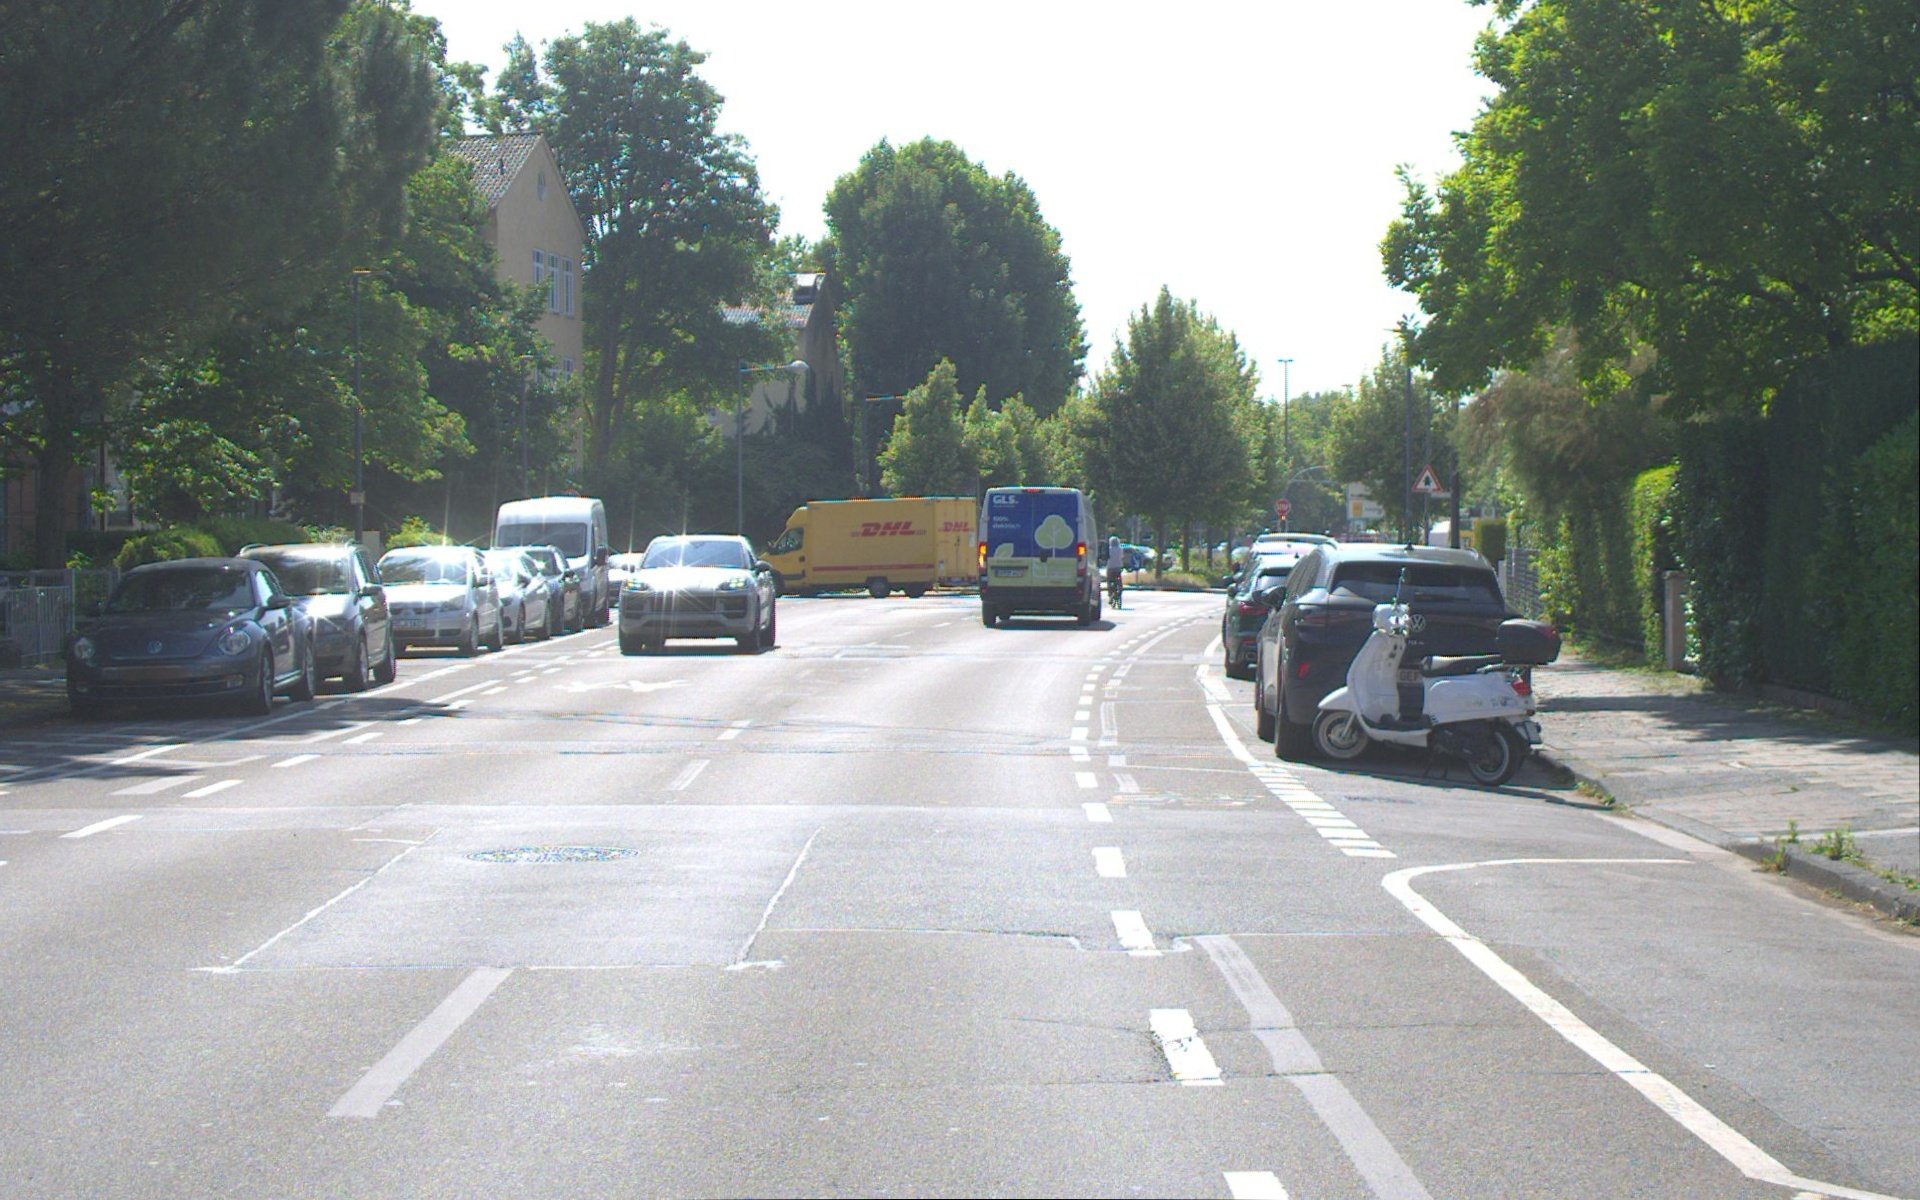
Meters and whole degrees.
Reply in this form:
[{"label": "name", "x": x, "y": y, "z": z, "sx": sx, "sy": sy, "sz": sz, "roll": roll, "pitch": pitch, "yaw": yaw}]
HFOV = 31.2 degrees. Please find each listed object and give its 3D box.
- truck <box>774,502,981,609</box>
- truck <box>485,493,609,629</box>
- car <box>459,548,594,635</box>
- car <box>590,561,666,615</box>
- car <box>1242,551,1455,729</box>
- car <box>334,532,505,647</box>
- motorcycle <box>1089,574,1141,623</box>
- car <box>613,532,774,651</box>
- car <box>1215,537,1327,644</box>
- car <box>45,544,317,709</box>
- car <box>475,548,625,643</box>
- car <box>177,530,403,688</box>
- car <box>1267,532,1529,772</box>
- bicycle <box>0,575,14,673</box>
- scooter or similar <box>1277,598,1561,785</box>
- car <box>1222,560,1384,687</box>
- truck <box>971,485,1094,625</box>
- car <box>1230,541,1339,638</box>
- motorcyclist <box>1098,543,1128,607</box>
[{"label": "truck", "x": -2.375, "y": -1.243, "z": 97.547, "sx": 5.679, "sy": 2.936, "sz": 2.217, "roll": 0, "pitch": 0, "yaw": 36}, {"label": "truck", "x": -7.976, "y": -0.756, "z": 66.822, "sx": 2.080, "sy": 2.528, "sz": 5.468, "roll": 0, "pitch": 1, "yaw": -4}, {"label": "car", "x": -7.640, "y": -0.159, "z": 60.885, "sx": 1.754, "sy": 1.491, "sz": 3.653, "roll": 0, "pitch": 1, "yaw": 3}, {"label": "car", "x": -8.531, "y": -0.320, "z": 88.570, "sx": 1.754, "sy": 1.339, "sz": 3.654, "roll": 0, "pitch": 1, "yaw": -2}, {"label": "car", "x": 3.606, "y": 0.333, "z": 32.496, "sx": 1.709, "sy": 1.509, "sz": 3.901, "roll": 2, "pitch": 1, "yaw": 3}, {"label": "car", "x": -7.755, "y": -0.142, "z": 49.655, "sx": 1.835, "sy": 1.590, "sz": 3.775, "roll": 0, "pitch": 0, "yaw": 1}, {"label": "motorcycle", "x": 3.639, "y": -0.042, "z": 81.108, "sx": 1.056, "sy": 1.119, "sz": 2.992, "roll": 0, "pitch": 0, "yaw": -1}, {"label": "car", "x": -3.844, "y": -0.148, "z": 50.236, "sx": 1.993, "sy": 1.652, "sz": 4.605, "roll": 0, "pitch": 1, "yaw": 0}, {"label": "car", "x": 5.080, "y": -0.176, "z": 55.828, "sx": 1.701, "sy": 1.671, "sz": 3.774, "roll": 0, "pitch": 1, "yaw": 7}, {"label": "car", "x": -7.391, "y": 0.214, "z": 32.989, "sx": 1.780, "sy": 1.455, "sz": 4.086, "roll": -1, "pitch": 1, "yaw": -2}, {"label": "car", "x": -6.641, "y": -0.087, "z": 55.997, "sx": 1.835, "sy": 1.491, "sz": 3.653, "roll": 0, "pitch": 1, "yaw": 3}, {"label": "car", "x": -7.466, "y": 0.059, "z": 38.704, "sx": 1.908, "sy": 1.671, "sz": 4.259, "roll": 0, "pitch": 1, "yaw": -3}, {"label": "car", "x": 3.330, "y": 0.354, "z": 26.635, "sx": 1.785, "sy": 1.632, "sz": 4.469, "roll": 2, "pitch": 1, "yaw": 6}, {"label": "bicycle", "x": -11.339, "y": 0.280, "z": 39.454, "sx": 0.373, "sy": 1.142, "sz": 1.977, "roll": 0, "pitch": 0, "yaw": 1}, {"label": "scooter or similar", "x": 3.154, "y": 0.623, "z": 23.757, "sx": 1.796, "sy": 1.150, "sz": 0.718, "roll": 4, "pitch": 1, "yaw": 44}, {"label": "car", "x": 4.112, "y": 0.258, "z": 41.752, "sx": 1.785, "sy": 1.395, "sz": 4.323, "roll": 2, "pitch": 0, "yaw": 4}, {"label": "truck", "x": 1.413, "y": -0.840, "z": 65.681, "sx": 2.272, "sy": 2.563, "sz": 4.392, "roll": 0, "pitch": 0, "yaw": 2}, {"label": "car", "x": 5.737, "y": -0.193, "z": 61.092, "sx": 1.700, "sy": 1.671, "sz": 3.775, "roll": 0, "pitch": 0, "yaw": 2}, {"label": "motorcyclist", "x": 3.610, "y": -0.584, "z": 81.018, "sx": 0.672, "sy": 1.513, "sz": 0.652, "roll": 0, "pitch": 0, "yaw": -1}]
